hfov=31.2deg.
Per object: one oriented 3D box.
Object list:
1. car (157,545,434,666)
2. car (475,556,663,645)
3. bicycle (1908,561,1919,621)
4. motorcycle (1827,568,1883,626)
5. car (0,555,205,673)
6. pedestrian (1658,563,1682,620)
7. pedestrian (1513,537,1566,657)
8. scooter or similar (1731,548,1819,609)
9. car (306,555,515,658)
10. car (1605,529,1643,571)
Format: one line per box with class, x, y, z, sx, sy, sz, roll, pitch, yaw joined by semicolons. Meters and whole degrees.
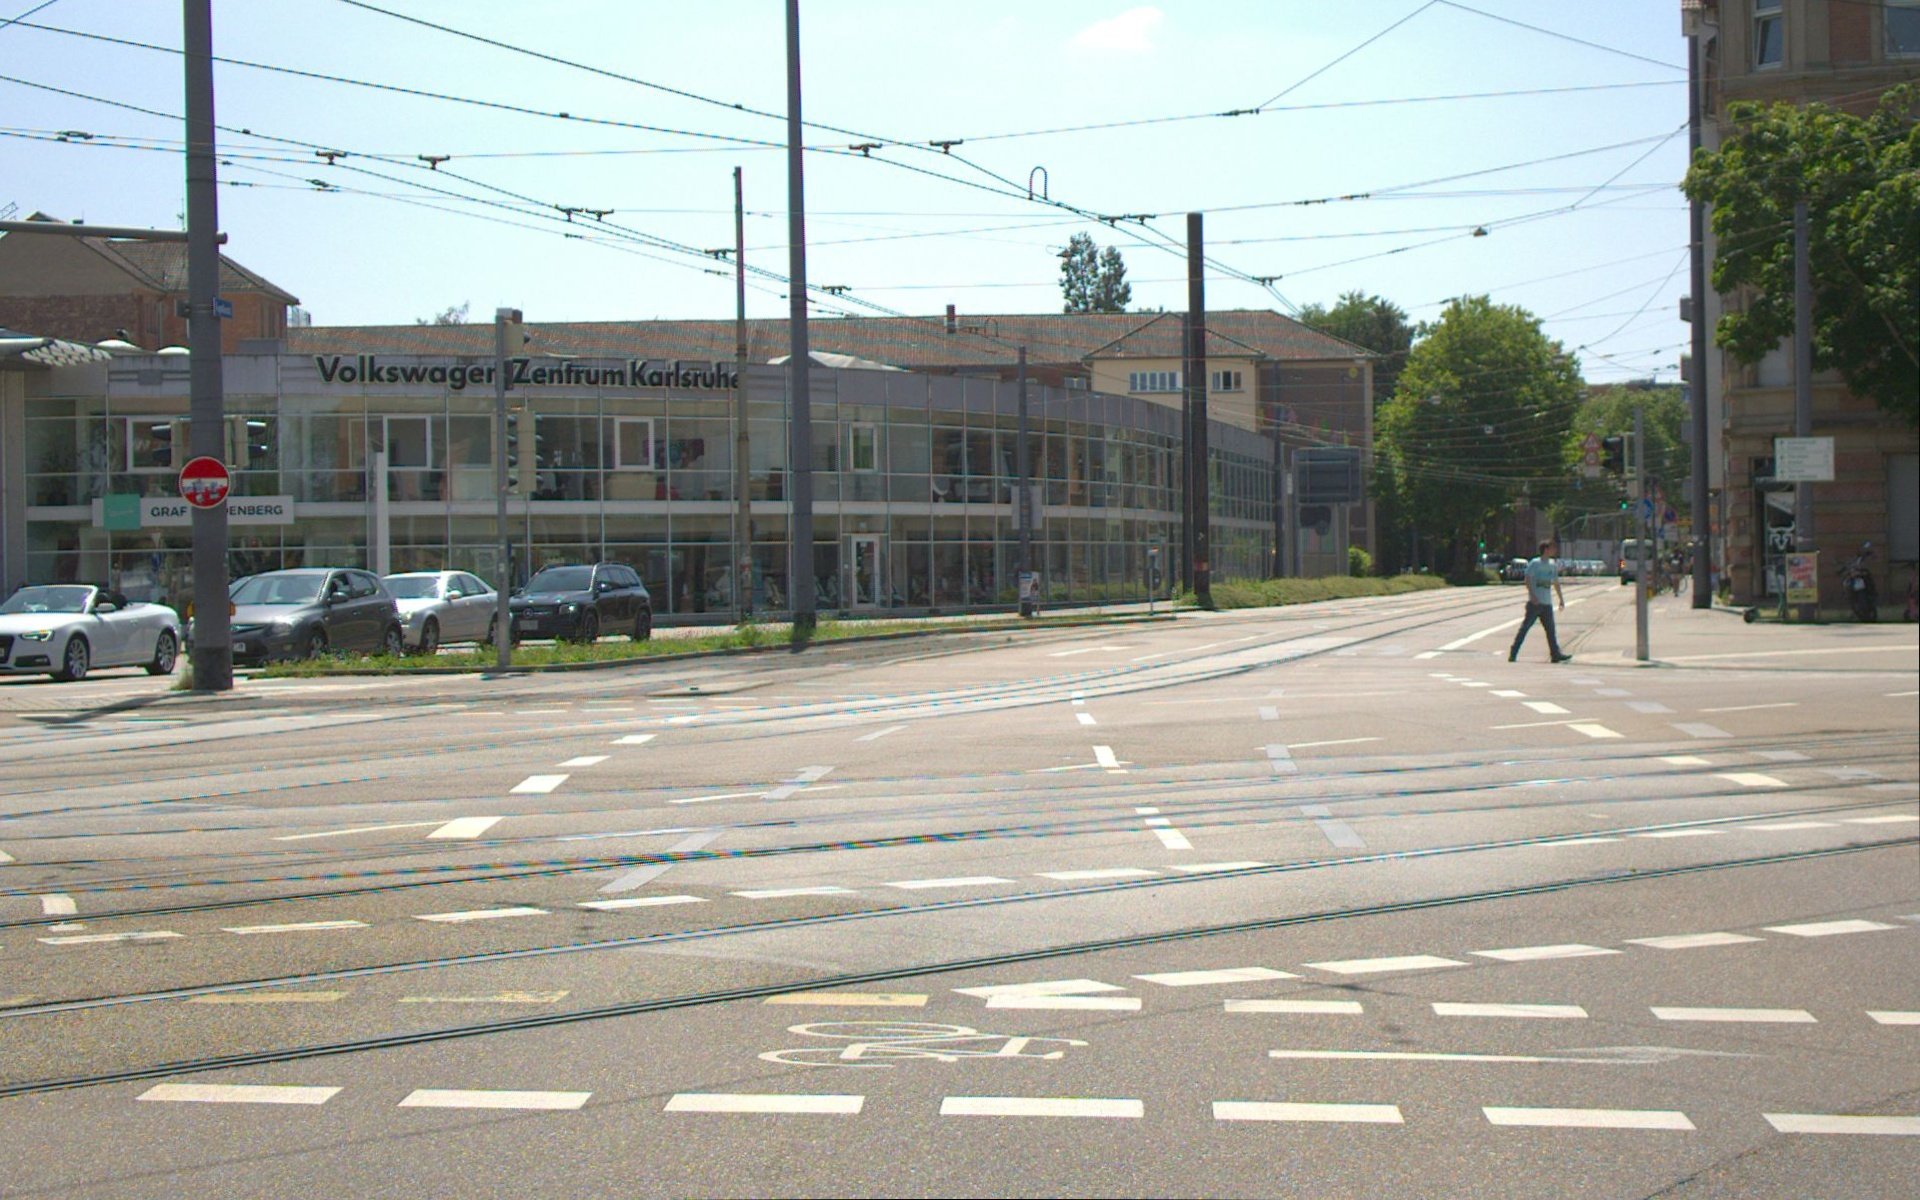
car;-9.384;0.043;48.994;1.995;1.632;4.843;-1;1;14
car;-7.651;-0.015;67.709;2.080;1.677;4.843;-1;1;14
bicycle;18.303;-0.169;64.661;0.551;1.116;1.820;-1;1;4
motorcycle;16.861;-0.065;64.784;0.580;1.071;1.946;-1;1;1
car;-12.617;0.159;48.552;2.077;1.575;4.844;-1;1;11
pedestrian;25.261;-0.301;122.370;0.768;2.007;0.663;1;-1;10
pedestrian;8.284;-0.050;49.166;0.460;1.702;0.640;-1;0;-21
scooter or similar;15.988;-0.422;67.407;1.786;1.177;0.599;-1;0;-33
car;-9.651;0.085;60.765;1.995;1.733;4.540;-1;1;14
car;37.258;-2.799;192.847;1.994;2.174;4.367;1;0;12
